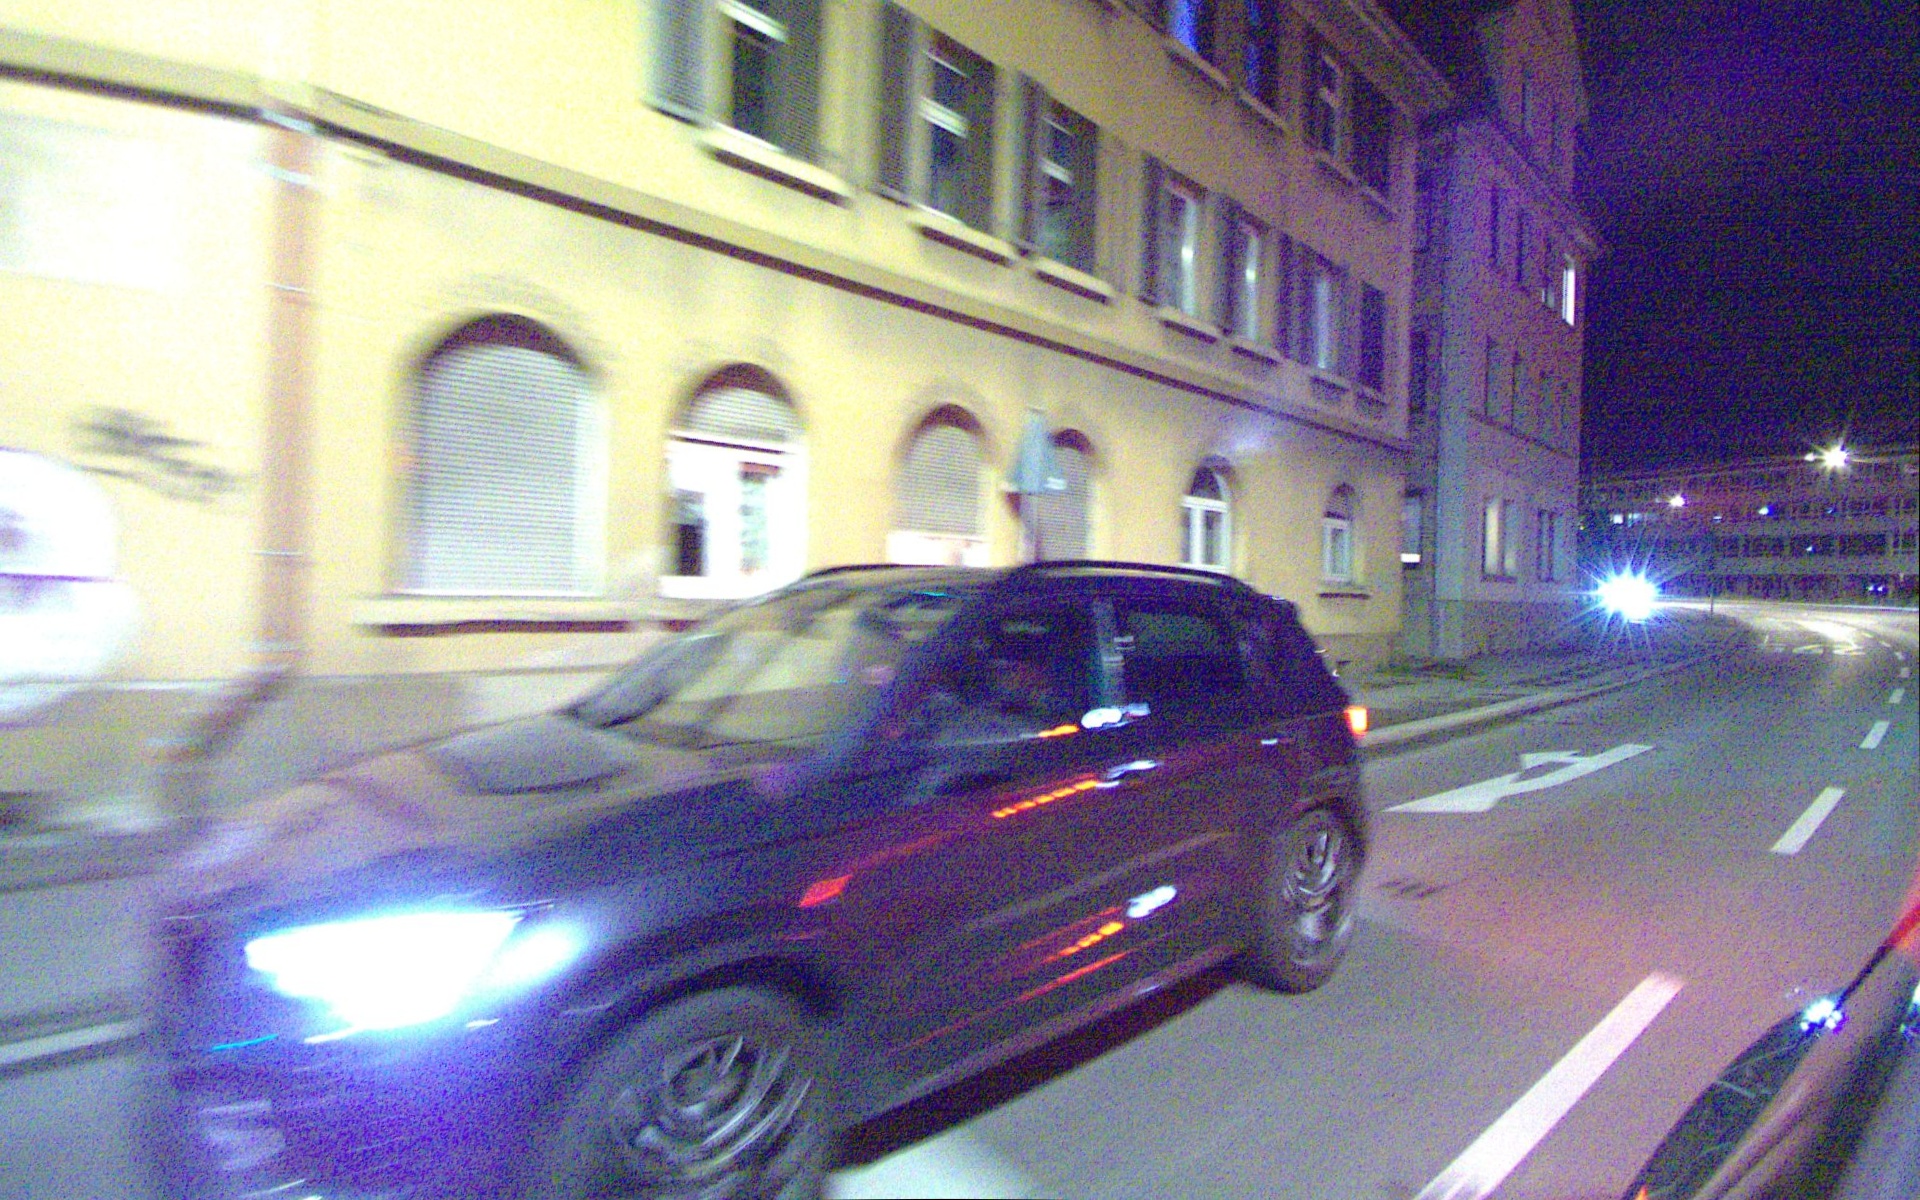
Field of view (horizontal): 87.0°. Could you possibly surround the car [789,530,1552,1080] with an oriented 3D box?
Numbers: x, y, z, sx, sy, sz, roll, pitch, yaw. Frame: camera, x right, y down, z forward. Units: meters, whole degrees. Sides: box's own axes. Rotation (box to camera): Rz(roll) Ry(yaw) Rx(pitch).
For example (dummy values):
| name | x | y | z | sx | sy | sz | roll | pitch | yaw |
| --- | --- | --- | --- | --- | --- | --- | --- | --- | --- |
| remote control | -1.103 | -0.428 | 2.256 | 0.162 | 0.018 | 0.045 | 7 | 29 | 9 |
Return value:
| name | x | y | z | sx | sy | sz | roll | pitch | yaw |
| --- | --- | --- | --- | --- | --- | --- | --- | --- | --- |
| car | 1.327 | 0.560 | 5.120 | 1.994 | 1.636 | 3.936 | 1 | 2 | 44 |
